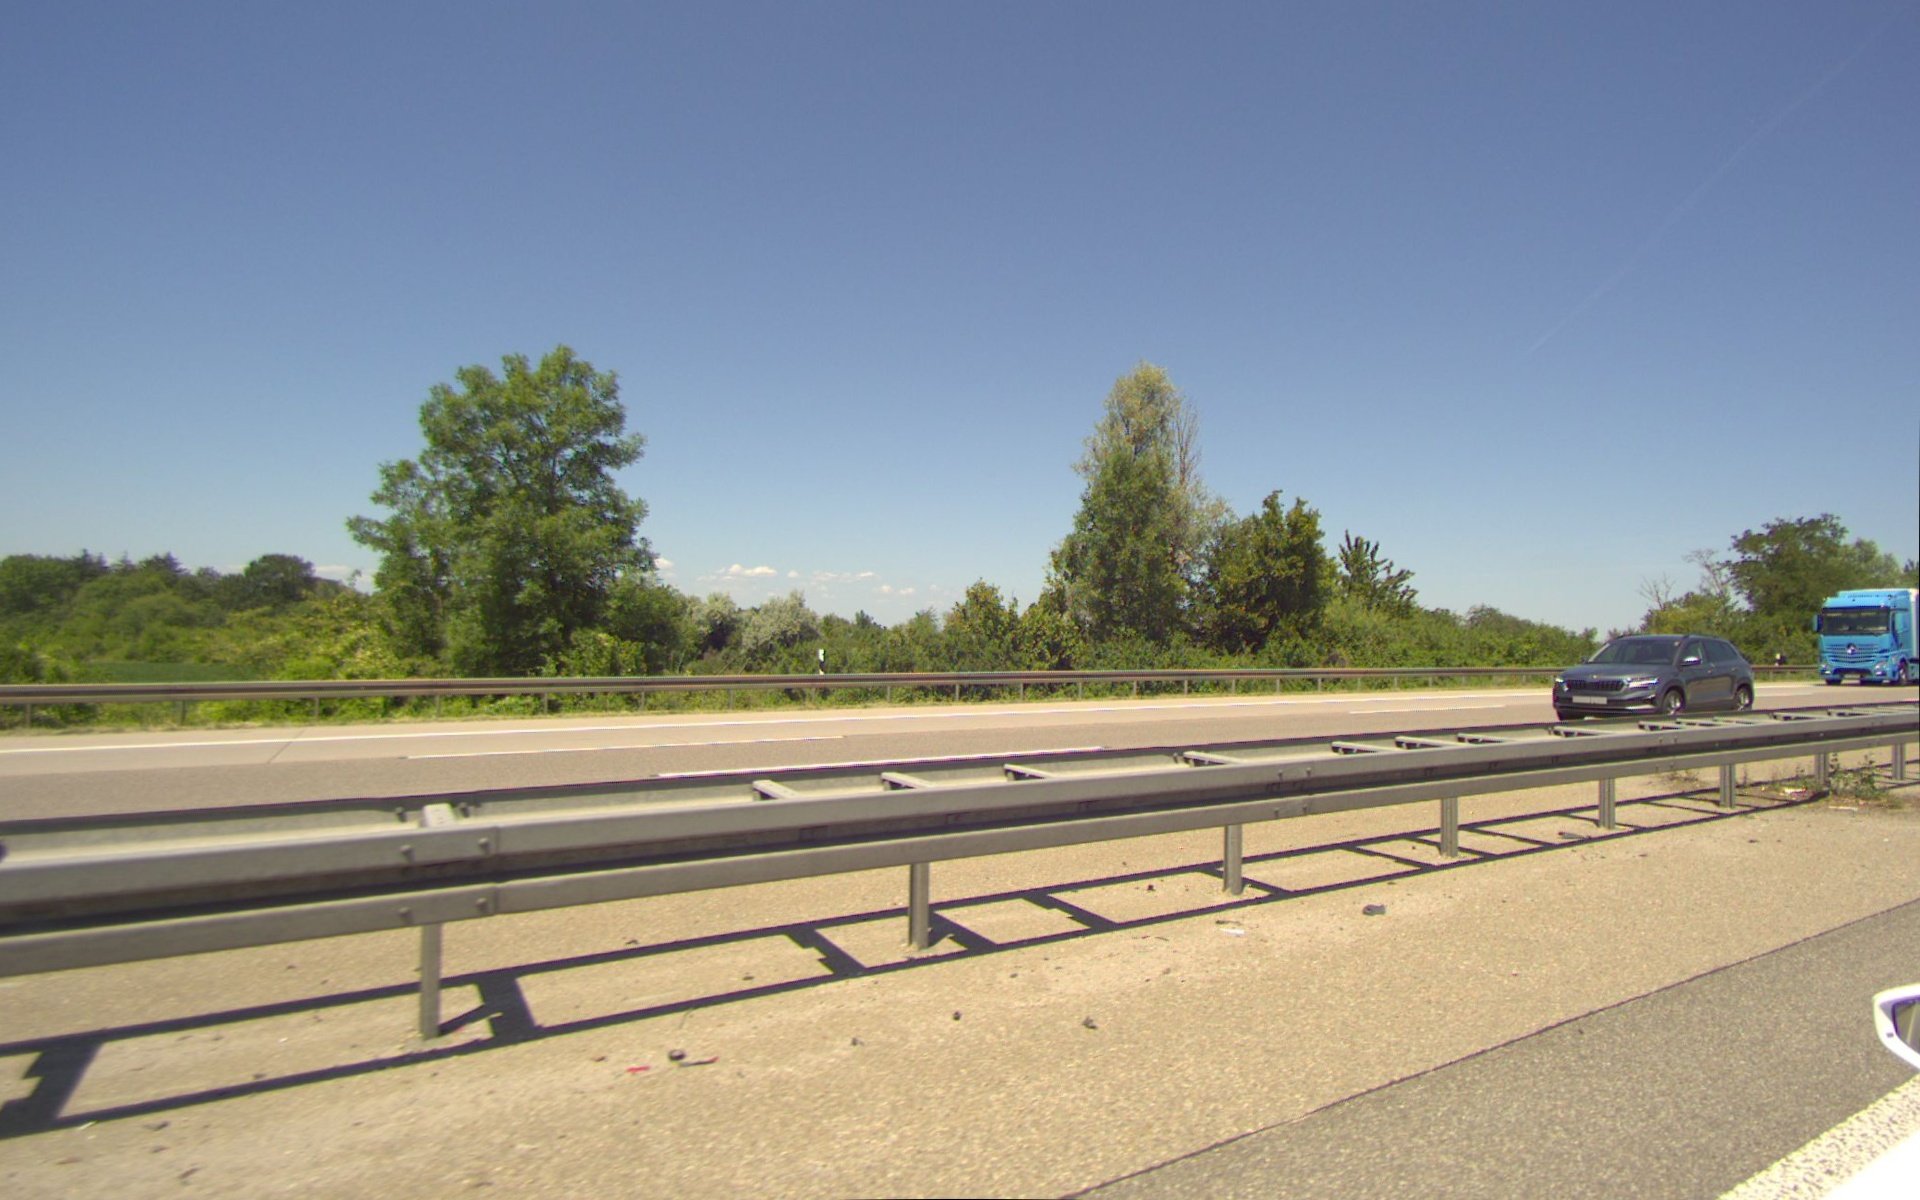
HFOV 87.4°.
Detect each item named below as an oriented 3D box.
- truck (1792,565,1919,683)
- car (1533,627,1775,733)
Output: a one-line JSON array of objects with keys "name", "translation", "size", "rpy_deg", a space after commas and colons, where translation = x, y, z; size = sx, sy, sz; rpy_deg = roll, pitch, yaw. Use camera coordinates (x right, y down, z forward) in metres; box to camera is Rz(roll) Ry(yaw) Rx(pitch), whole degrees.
[{"name": "truck", "translation": [44.039, 1.299, 46.511], "size": [16.670, 4.781, 3.210], "rpy_deg": [2, -4, -32]}, {"name": "car", "translation": [12.598, 1.383, 18.182], "size": [4.358, 1.712, 1.984], "rpy_deg": [2, -3, -31]}]
